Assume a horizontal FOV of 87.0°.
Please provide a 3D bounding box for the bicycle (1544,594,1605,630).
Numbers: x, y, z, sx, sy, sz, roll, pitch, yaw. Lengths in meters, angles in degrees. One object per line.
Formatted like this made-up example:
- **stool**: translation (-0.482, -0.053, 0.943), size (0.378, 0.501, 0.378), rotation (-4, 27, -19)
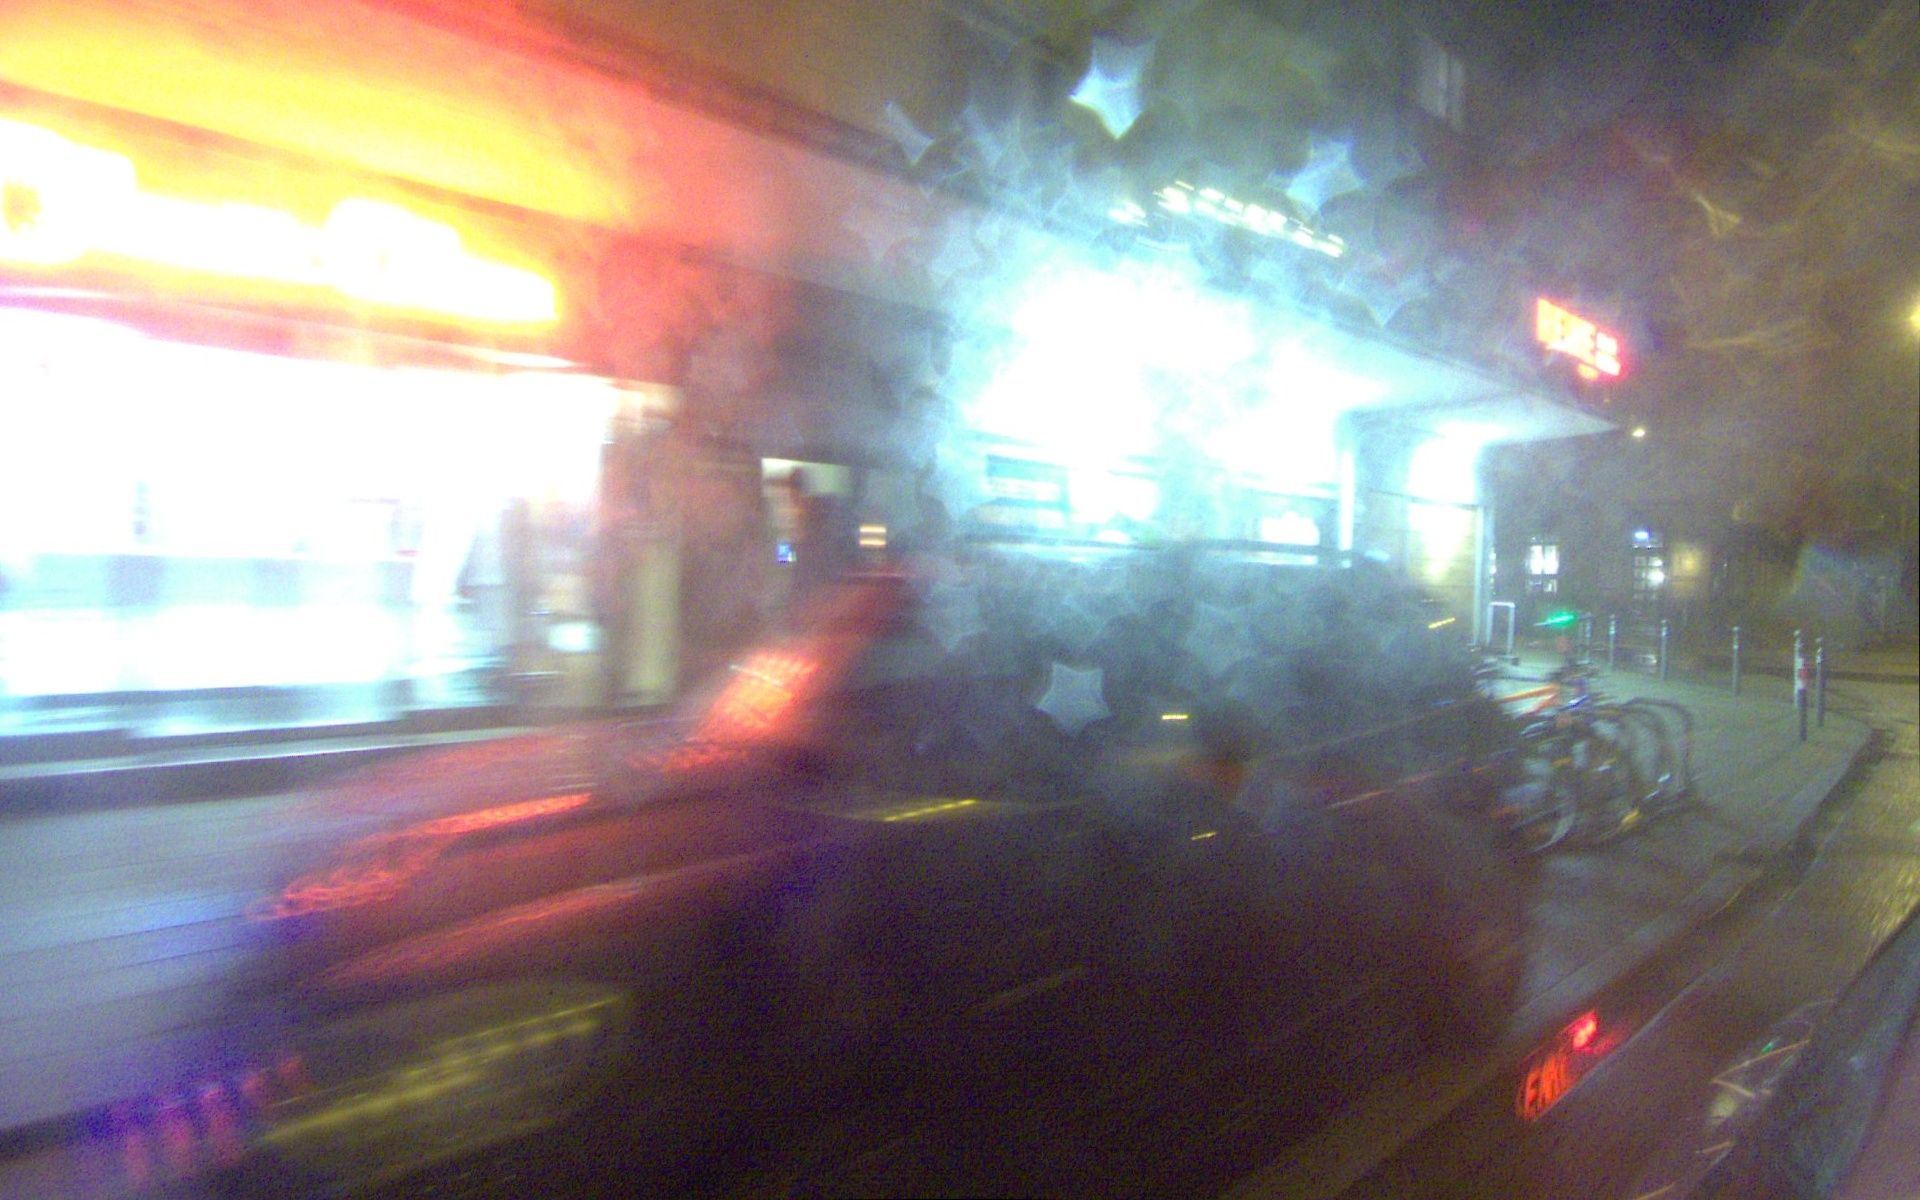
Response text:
- **bicycle**: translation (18.812, 0.370, 30.992), size (1.772, 1.021, 0.456), rotation (2, 1, -15)

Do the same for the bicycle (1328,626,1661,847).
- **bicycle**: translation (3.234, 0.760, 6.288), size (0.428, 1.092, 1.765), rotation (1, 2, -41)

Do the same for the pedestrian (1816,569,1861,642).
- **pedestrian**: translation (22.789, 0.135, 26.247), size (1.058, 1.855, 0.676), rotation (0, 0, -38)

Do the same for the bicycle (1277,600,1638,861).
- **bicycle**: translation (2.782, 0.656, 5.862), size (0.428, 1.138, 1.766), rotation (1, 5, -41)

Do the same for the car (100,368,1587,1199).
- **car**: translation (0.162, 0.524, 2.973), size (4.082, 1.585, 1.756), rotation (-1, 2, -41)

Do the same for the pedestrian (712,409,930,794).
- **pedestrian**: translation (-0.920, -0.019, 6.593), size (0.953, 2.235, 1.056), rotation (0, 3, -40)

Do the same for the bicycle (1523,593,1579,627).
- **bicycle**: translation (18.846, 0.327, 32.261), size (1.772, 1.021, 0.380), rotation (2, 1, -15)

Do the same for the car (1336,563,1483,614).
- **car**: translation (18.204, -0.456, 41.007), size (5.431, 1.913, 2.004), rotation (1, 1, -17)

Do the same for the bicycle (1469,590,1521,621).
- **bicycle**: translation (18.319, 0.183, 34.640), size (1.772, 1.021, 0.404), rotation (0, 0, -15)

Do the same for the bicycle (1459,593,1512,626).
- **bicycle**: translation (18.268, 0.328, 35.190), size (1.740, 1.020, 0.405), rotation (3, 3, -15)

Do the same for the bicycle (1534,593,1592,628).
- **bicycle**: translation (18.885, 0.333, 31.678), size (1.772, 1.021, 0.404), rotation (2, 1, -15)

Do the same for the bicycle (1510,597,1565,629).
- **bicycle**: translation (18.719, 0.416, 32.784), size (1.772, 1.021, 0.404), rotation (0, 0, -15)

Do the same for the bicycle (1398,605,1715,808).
- **bicycle**: translation (3.984, 0.646, 6.903), size (0.428, 1.139, 1.786), rotation (1, 2, -41)

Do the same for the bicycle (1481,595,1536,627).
- **bicycle**: translation (18.471, 0.374, 34.077), size (1.772, 1.021, 0.404), rotation (2, 1, -15)

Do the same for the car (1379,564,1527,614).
- **car**: translation (18.709, -0.411, 38.469), size (4.989, 1.784, 2.004), rotation (1, 1, -17)

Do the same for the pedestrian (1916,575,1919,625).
- **pedestrian**: translation (35.546, 0.019, 36.810), size (0.793, 1.839, 0.793), rotation (0, 2, -15)
